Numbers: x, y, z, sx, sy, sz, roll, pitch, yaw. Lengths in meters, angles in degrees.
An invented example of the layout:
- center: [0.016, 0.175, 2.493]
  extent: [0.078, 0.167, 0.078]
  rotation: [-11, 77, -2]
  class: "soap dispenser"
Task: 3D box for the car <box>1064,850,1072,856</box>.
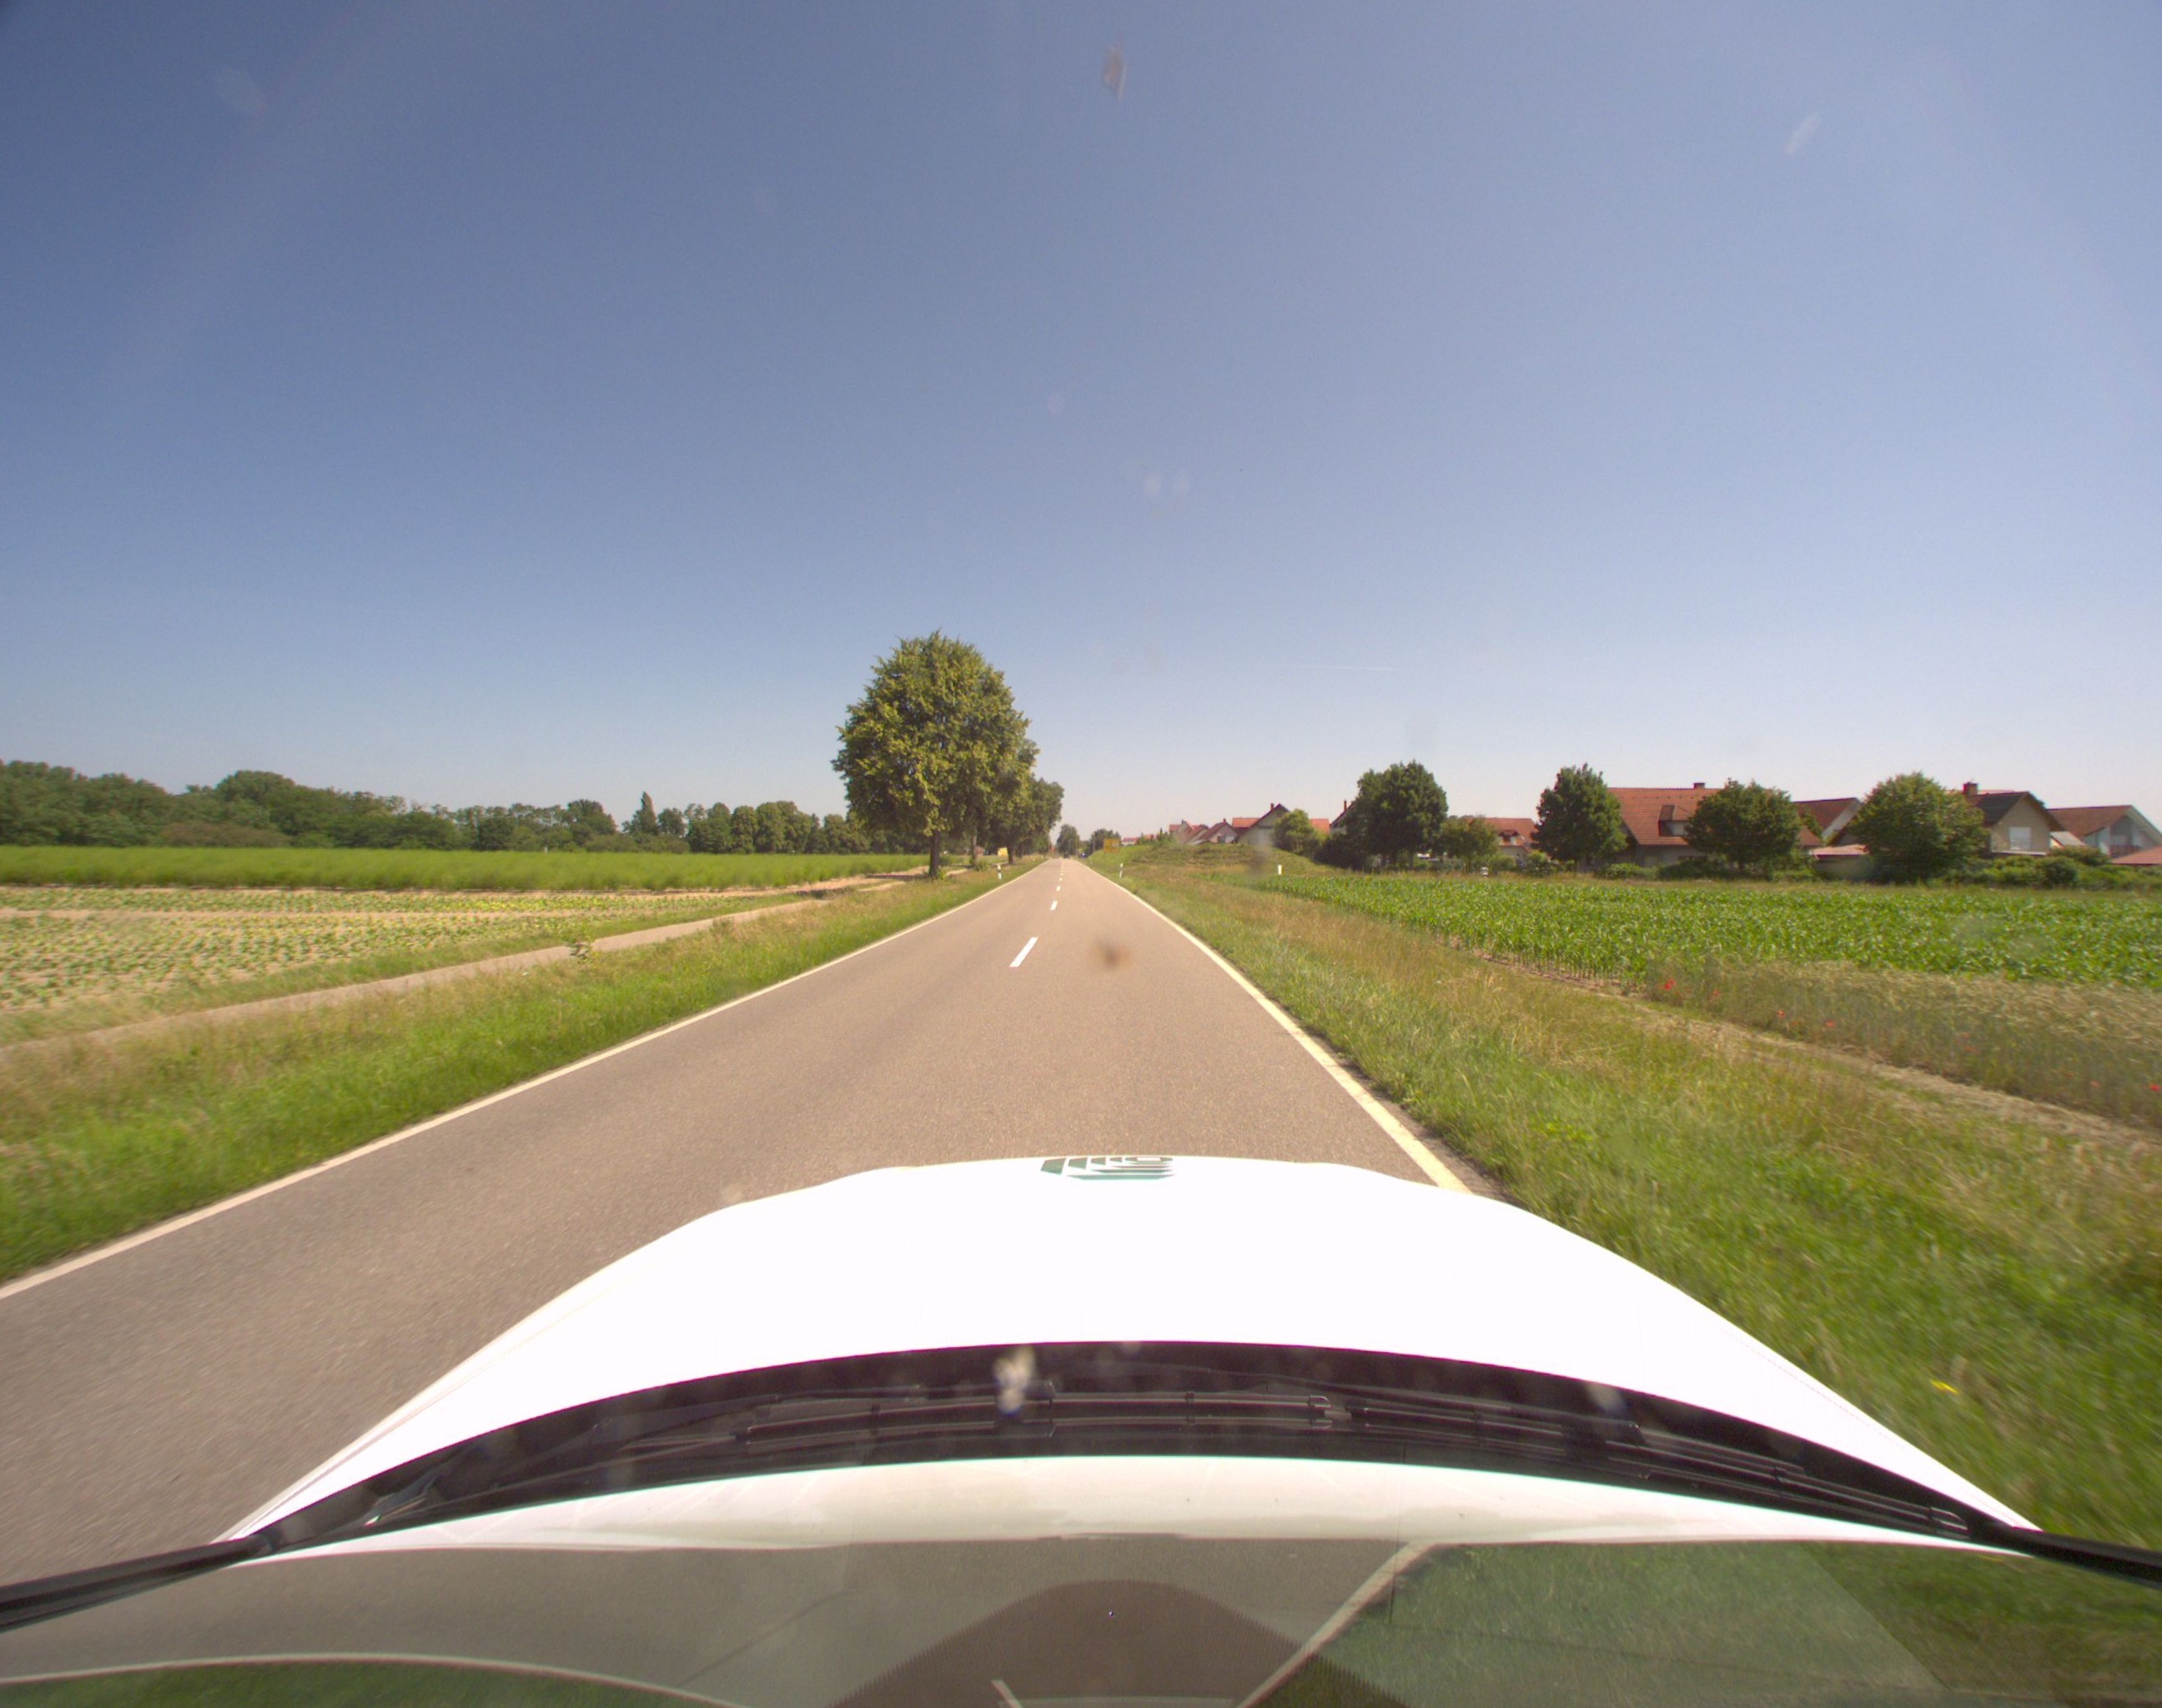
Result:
- center: [-3.788, -0.247, 232.930]
  extent: [1.829, 1.536, 3.615]
  rotation: [0, 0, 5]
  class: "car"
